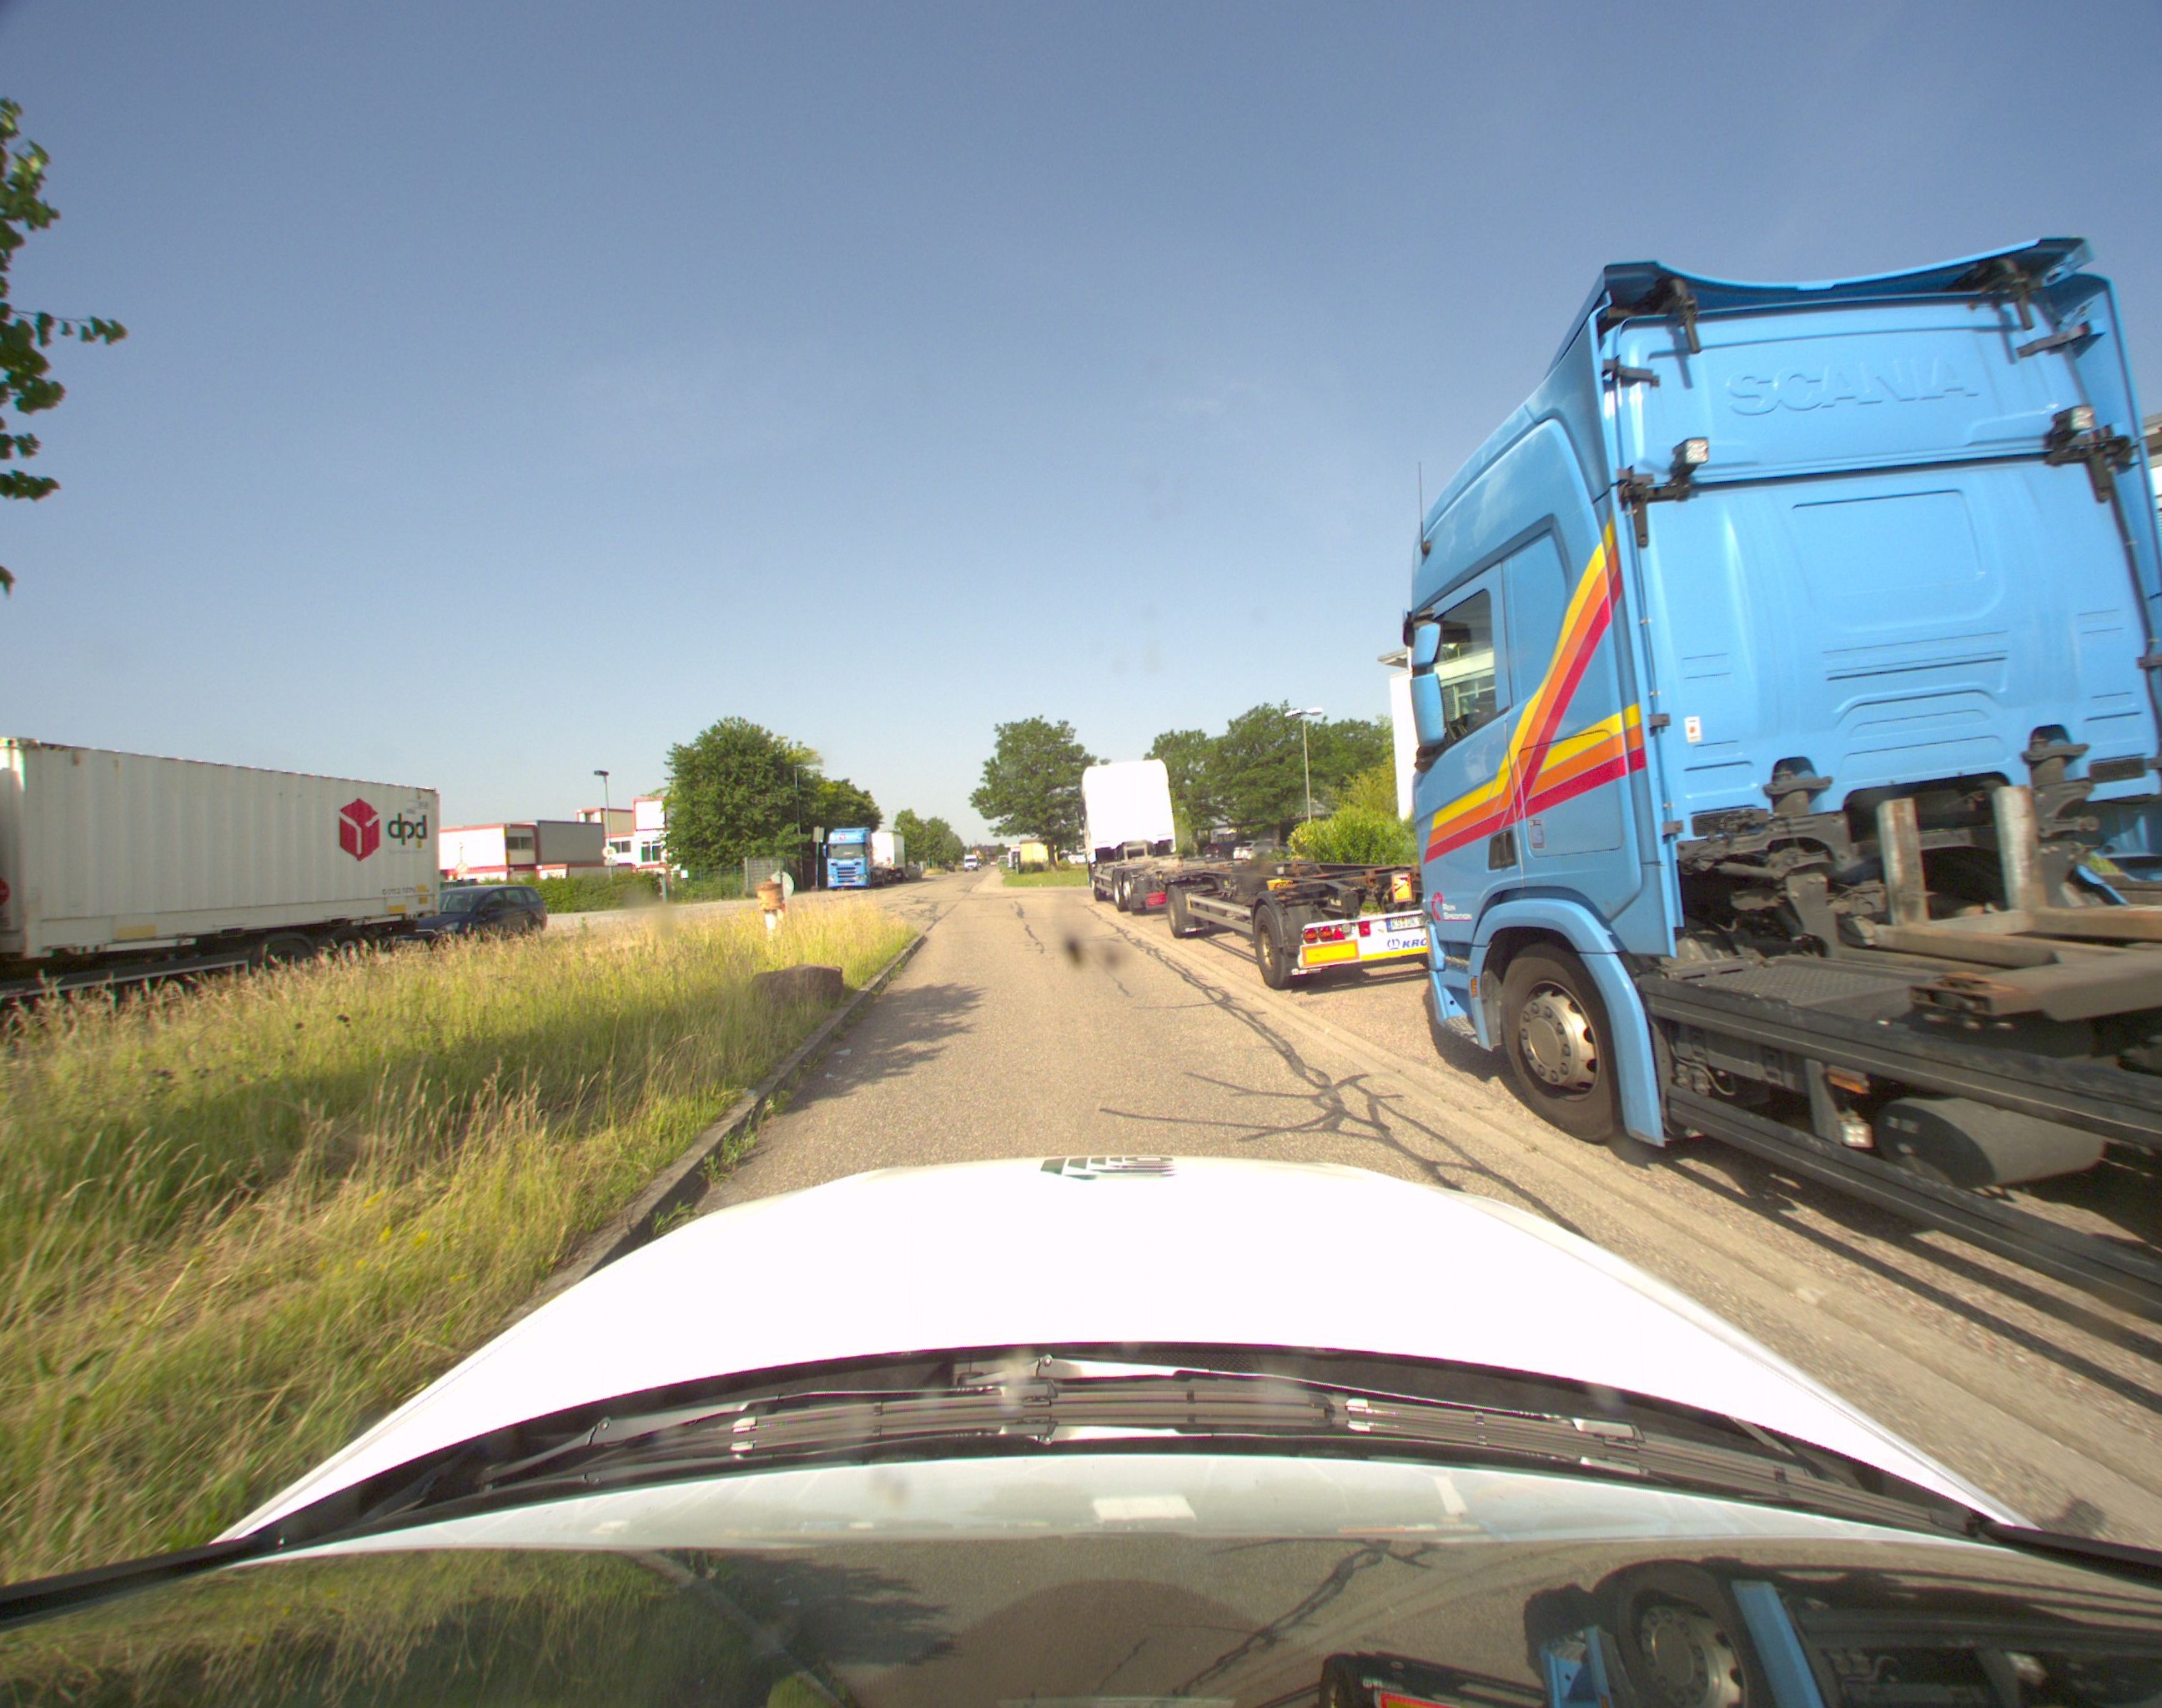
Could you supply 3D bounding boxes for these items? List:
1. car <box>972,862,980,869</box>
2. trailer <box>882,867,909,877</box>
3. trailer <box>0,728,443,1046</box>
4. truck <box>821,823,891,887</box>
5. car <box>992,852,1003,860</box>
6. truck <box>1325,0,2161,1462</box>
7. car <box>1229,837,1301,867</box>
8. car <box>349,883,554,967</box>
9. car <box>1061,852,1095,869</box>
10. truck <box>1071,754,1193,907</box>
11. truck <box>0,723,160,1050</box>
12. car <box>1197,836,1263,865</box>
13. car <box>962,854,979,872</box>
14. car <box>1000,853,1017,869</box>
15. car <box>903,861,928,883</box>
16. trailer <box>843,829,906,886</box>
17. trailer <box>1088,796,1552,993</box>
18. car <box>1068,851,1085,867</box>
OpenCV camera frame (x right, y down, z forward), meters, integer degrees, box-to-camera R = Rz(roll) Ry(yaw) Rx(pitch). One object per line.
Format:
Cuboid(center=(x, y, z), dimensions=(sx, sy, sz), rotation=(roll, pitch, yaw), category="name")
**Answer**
Cuboid(center=(-27.156, 3.000, 210.586), dimensions=(1.640, 1.662, 3.984), rotation=(-2, -1, -12), category="car")
Cuboid(center=(-16.319, 1.589, 71.846), dimensions=(1.894, 0.760, 3.991), rotation=(-3, 0, -7), category="trailer")
Cuboid(center=(-14.753, 0.522, 13.666), dimensions=(2.696, 3.922, 7.558), rotation=(-2, -1, -6), category="trailer")
Cuboid(center=(-14.733, 0.167, 54.060), dimensions=(2.822, 3.826, 9.651), rotation=(-2, -1, -6), category="truck")
Cuboid(center=(-20.150, 0.537, 196.469), dimensions=(1.774, 1.815, 3.979), rotation=(-1, -1, -15), category="car")
Cuboid(center=(3.729, -0.586, 0.931), dimensions=(2.884, 3.534, 9.737), rotation=(-7, -1, -5), category="truck")
Cuboid(center=(11.319, -0.100, 50.097), dimensions=(4.097, 1.701, 1.749), rotation=(-1, -1, -27), category="car")
Cuboid(center=(-15.558, 1.661, 20.532), dimensions=(1.992, 1.641, 4.575), rotation=(-2, 0, -8), category="car")
Cuboid(center=(-0.269, 0.607, 69.566), dimensions=(1.675, 1.330, 3.636), rotation=(-1, -1, -22), category="car")
Cuboid(center=(1.406, -0.655, 24.721), dimensions=(2.742, 3.981, 3.992), rotation=(-6, 0, -6), category="truck")
Cuboid(center=(-14.302, 0.415, 9.354), dimensions=(2.706, 3.922, 4.287), rotation=(-2, -1, -6), category="truck")
Cuboid(center=(9.699, -0.229, 52.942), dimensions=(4.018, 1.767, 1.977), rotation=(-1, -2, -37), category="car")
Cuboid(center=(-17.359, 1.460, 127.630), dimensions=(2.216, 2.686, 6.824), rotation=(-2, -1, -12), category="car")
Cuboid(center=(-8.498, 0.854, 95.458), dimensions=(1.790, 1.750, 3.990), rotation=(-2, -1, -6), category="car")
Cuboid(center=(-16.283, 1.756, 79.928), dimensions=(1.997, 2.013, 3.979), rotation=(-3, 0, -15), category="car")
Cuboid(center=(-15.534, 0.369, 62.327), dimensions=(2.827, 3.843, 12.010), rotation=(-2, -1, -6), category="trailer")
Cuboid(center=(2.369, 0.427, 15.718), dimensions=(2.742, 1.573, 16.140), rotation=(-6, 0, -5), category="trailer")
Cuboid(center=(-0.530, 0.600, 87.570), dimensions=(1.713, 1.618, 3.996), rotation=(-2, -1, -2), category="car")
